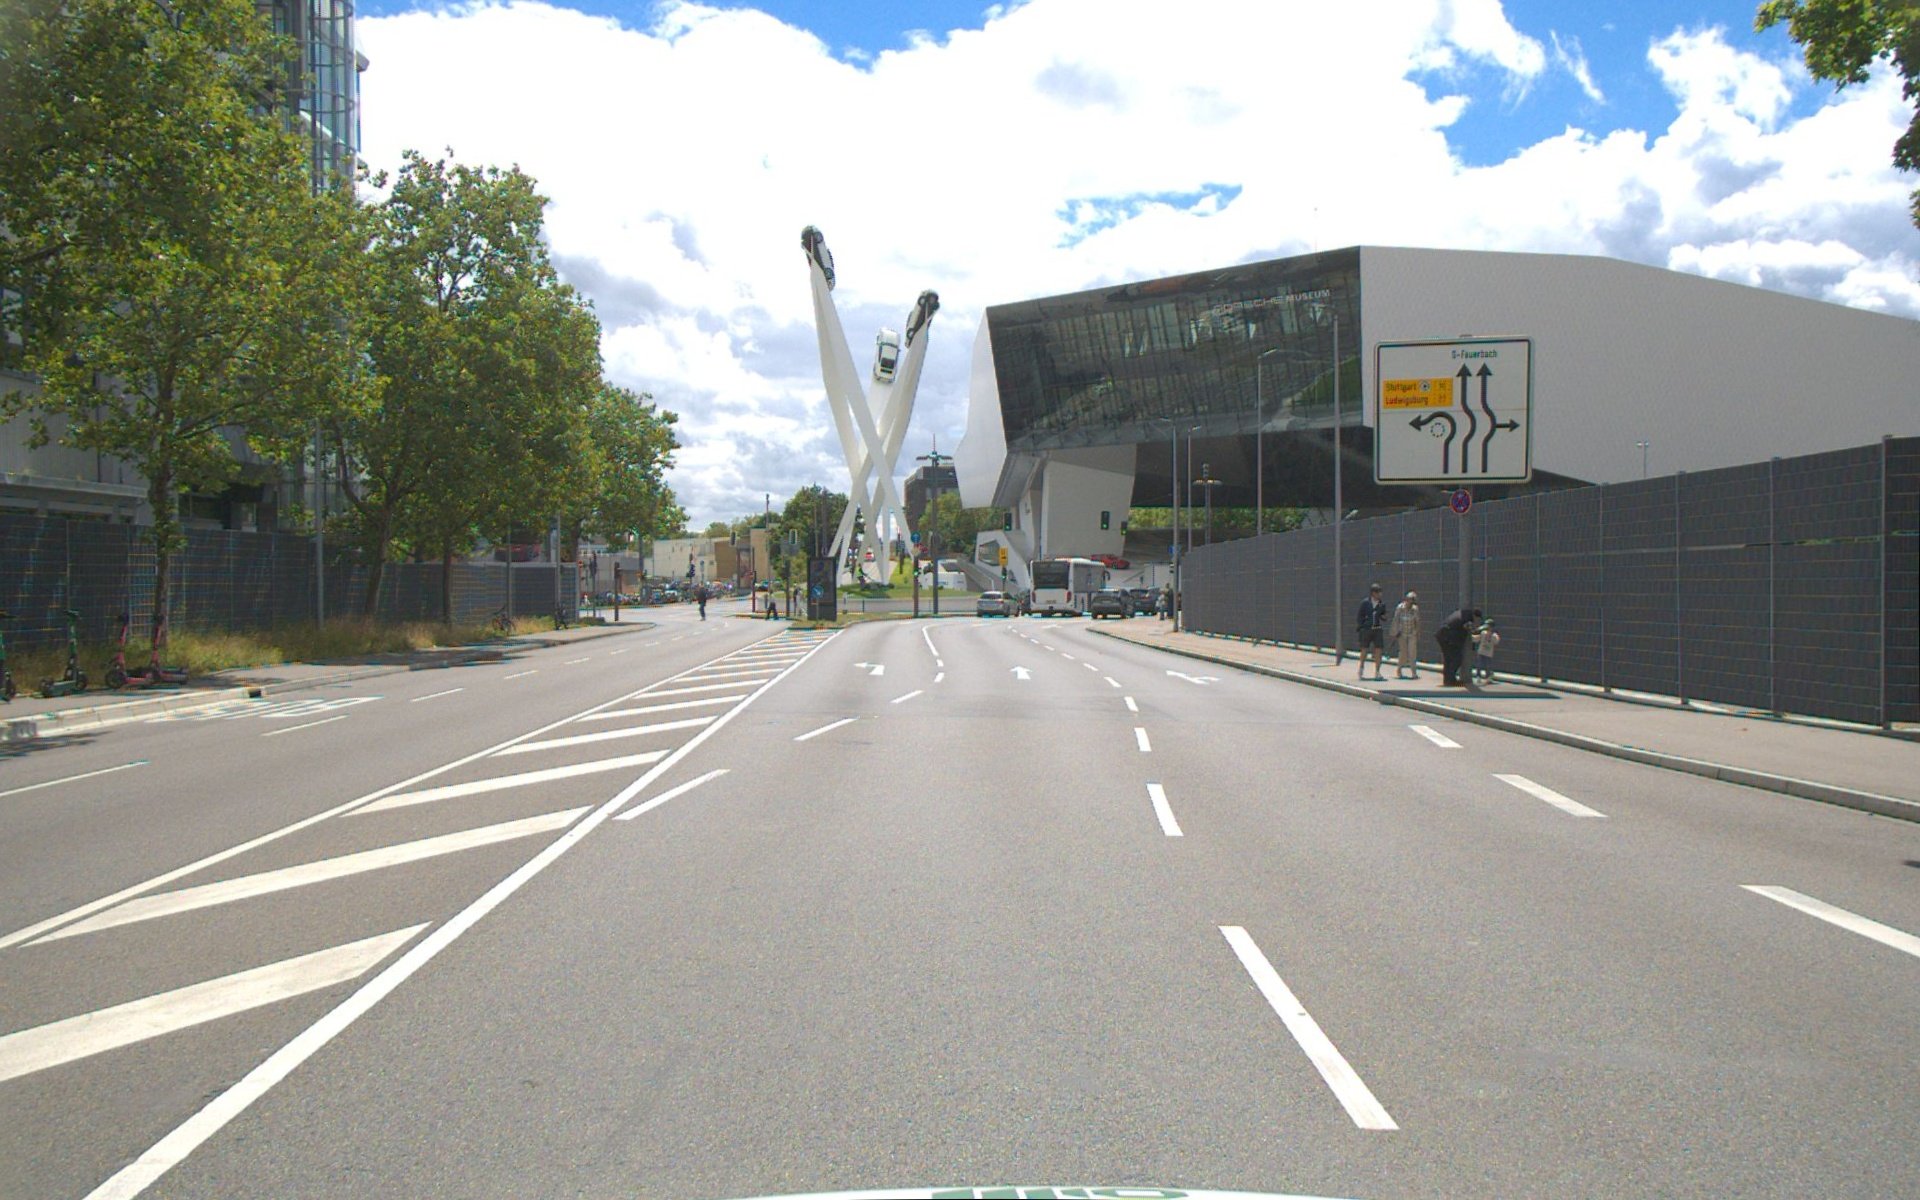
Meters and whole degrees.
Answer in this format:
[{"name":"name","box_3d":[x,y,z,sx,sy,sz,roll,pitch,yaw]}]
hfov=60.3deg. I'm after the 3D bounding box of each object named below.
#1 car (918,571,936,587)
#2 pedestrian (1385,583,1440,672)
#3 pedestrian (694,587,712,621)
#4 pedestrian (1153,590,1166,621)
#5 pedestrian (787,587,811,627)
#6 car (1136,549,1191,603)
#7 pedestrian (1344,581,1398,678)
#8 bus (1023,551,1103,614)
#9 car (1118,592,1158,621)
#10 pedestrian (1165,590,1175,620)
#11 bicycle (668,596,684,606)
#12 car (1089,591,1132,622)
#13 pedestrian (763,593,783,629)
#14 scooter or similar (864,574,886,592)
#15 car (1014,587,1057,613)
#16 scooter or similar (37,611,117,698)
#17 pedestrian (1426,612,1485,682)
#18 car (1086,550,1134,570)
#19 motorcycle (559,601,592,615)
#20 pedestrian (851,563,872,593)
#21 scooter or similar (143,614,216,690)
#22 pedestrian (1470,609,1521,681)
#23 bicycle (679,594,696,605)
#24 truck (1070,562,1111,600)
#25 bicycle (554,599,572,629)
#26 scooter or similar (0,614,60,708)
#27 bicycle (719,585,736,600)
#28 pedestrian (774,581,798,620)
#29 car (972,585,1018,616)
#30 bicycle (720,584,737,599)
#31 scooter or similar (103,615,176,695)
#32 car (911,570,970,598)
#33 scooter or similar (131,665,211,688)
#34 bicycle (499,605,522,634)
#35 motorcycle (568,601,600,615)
[{"name":"car","box_3d":[-3.865,-2.466,192.892,1.953,1.664,4.656,1,2,0]},{"name":"pedestrian","box_3d":[8.423,0.515,30.807,0.779,1.625,0.731,1,-1,-3]},{"name":"pedestrian","box_3d":[-13.812,0.200,88.893,0.849,1.805,1.031,1,-1,-15]},{"name":"pedestrian","box_3d":[10.560,0.307,87.543,0.645,1.636,0.823,1,-1,9]},{"name":"pedestrian","box_3d":[-8.531,0.367,87.438,0.932,2.091,0.951,1,-1,17]},{"name":"car","box_3d":[14.442,-1.664,118.141,3.265,3.565,9.345,1,-1,3]},{"name":"pedestrian","box_3d":[7.610,0.545,30.657,0.779,1.751,0.731,1,-1,-3]},{"name":"bus","box_3d":[6.304,-0.941,99.148,3.006,3.421,12.233,1,-1,12]},{"name":"car","box_3d":[10.409,0.390,96.588,1.951,1.665,4.003,1,-1,11]},{"name":"pedestrian","box_3d":[11.475,0.286,90.423,0.454,1.644,0.663,1,-1,1]},{"name":"bicycle","box_3d":[-26.451,0.060,154.080,0.482,0.881,1.606,0,-1,33]},{"name":"car","box_3d":[8.260,0.346,90.492,1.951,1.665,4.003,1,0,11]},{"name":"pedestrian","box_3d":[-9.721,0.570,85.801,0.849,1.805,1.031,1,-1,-15]},{"name":"scooter or similar","box_3d":[-5.504,-1.120,107.145,1.374,1.043,0.549,-3,6,-7]},{"name":"car","box_3d":[4.981,0.014,108.581,1.951,1.665,4.002,1,-1,16]},{"name":"scooter or similar","box_3d":[-13.590,0.823,25.498,0.512,1.256,1.317,3,1,-2]},{"name":"pedestrian","box_3d":[8.509,0.798,28.436,0.742,1.169,0.971,1,-1,1]},{"name":"car","box_3d":[14.719,-3.910,162.172,1.986,1.418,4.441,-5,11,-45]},{"name":"motorcycle","box_3d":[-35.685,0.739,153.608,2.842,1.217,0.921,1,-1,16]},{"name":"pedestrian","box_3d":[-6.365,-1.427,107.055,1.257,1.847,0.986,-3,4,-6]},{"name":"scooter or similar","box_3d":[-13.705,0.898,29.077,0.512,1.256,1.318,3,1,4]},{"name":"pedestrian","box_3d":[9.270,0.774,28.647,0.699,1.228,0.599,1,-1,2]},{"name":"bicycle","box_3d":[-24.733,-0.037,150.068,0.483,0.881,1.604,0,2,38]},{"name":"truck","box_3d":[9.310,-1.327,117.474,2.160,2.560,5.137,1,-1,13]},{"name":"bicycle","box_3d":[-15.774,0.552,65.747,0.290,1.151,1.485,1,-1,1]},{"name":"scooter or similar","box_3d":[-13.663,0.866,23.961,0.512,1.256,1.317,3,1,-2]},{"name":"bicycle","box_3d":[-22.046,-0.715,156.679,1.573,1.339,0.492,1,-1,-3]},{"name":"pedestrian","box_3d":[-9.297,0.031,88.476,0.932,2.091,0.951,1,-1,17]},{"name":"car","box_3d":[2.028,0.040,94.927,1.951,1.665,4.003,1,-1,11]},{"name":"bicycle","box_3d":[-22.133,-0.787,158.222,1.573,1.407,0.492,1,-1,-3]},{"name":"scooter or similar","box_3d":[-13.725,0.904,27.695,0.512,1.256,1.318,3,1,0]},{"name":"car","box_3d":[-1.616,-1.327,135.162,4.567,2.209,1.990,1,-1,39]},{"name":"scooter or similar","box_3d":[-14.234,1.373,29.859,0.526,0.328,1.272,1,1,23]},{"name":"bicycle","box_3d":[-16.119,0.699,59.299,0.290,1.023,1.253,1,-1,8]},{"name":"motorcycle","box_3d":[-35.158,0.758,154.691,2.842,1.217,0.921,1,-1,16]}]
